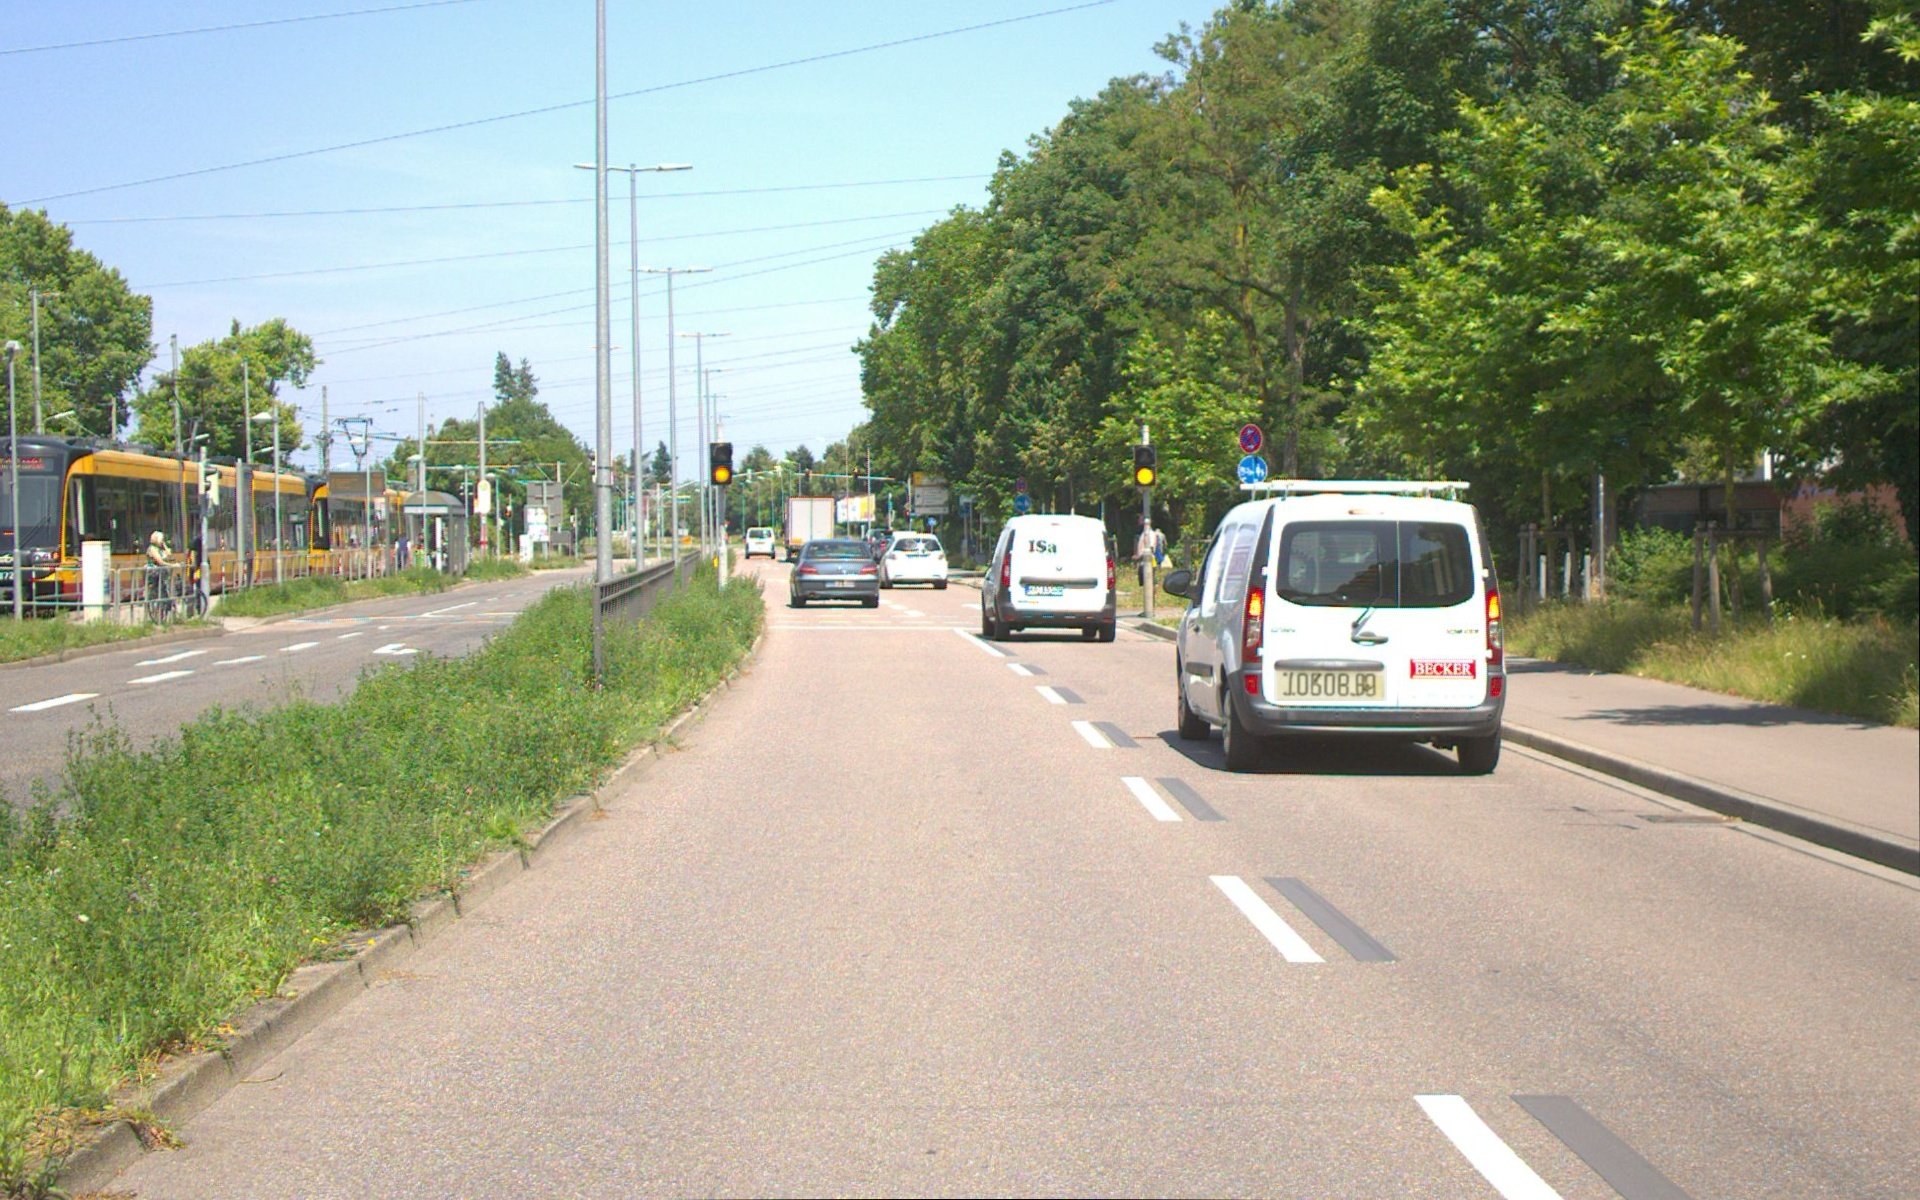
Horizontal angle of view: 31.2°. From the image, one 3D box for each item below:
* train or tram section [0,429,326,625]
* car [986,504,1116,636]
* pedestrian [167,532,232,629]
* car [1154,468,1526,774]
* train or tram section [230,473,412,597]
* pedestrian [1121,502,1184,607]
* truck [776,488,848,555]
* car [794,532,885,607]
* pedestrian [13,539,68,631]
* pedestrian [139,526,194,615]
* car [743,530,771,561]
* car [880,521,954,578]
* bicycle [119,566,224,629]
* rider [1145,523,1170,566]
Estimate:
[{"bbox_3d":[-19.024,-1.645,82.973,2.787,3.655,37.524,0,1,-4],"label":"train or tram section"},{"bbox_3d":[1.281,-0.470,49.704,1.728,1.807,4.000,1,1,0],"label":"car"},{"bbox_3d":[-14.260,-0.369,64.486,0.959,1.790,0.704,0,1,26],"label":"pedestrian"},{"bbox_3d":[2.477,0.095,23.503,1.824,1.875,4.456,1,1,-3],"label":"car"},{"bbox_3d":[-20.970,-2.123,114.676,2.787,3.655,26.003,0,1,-4],"label":"train or tram section"},{"bbox_3d":[3.418,-0.800,61.003,1.046,1.844,0.757,1,1,8],"label":"pedestrian"},{"bbox_3d":[-8.667,-4.532,199.932,3.898,3.800,10.794,0,1,-4],"label":"truck"},{"bbox_3d":[-2.491,-0.643,70.293,1.801,1.481,4.001,0,1,-3],"label":"car"},{"bbox_3d":[-15.508,-0.263,57.967,0.536,1.535,0.868,-1,1,-44],"label":"pedestrian"},{"bbox_3d":[-14.454,-0.538,62.656,0.819,1.623,0.705,0,1,2],"label":"pedestrian"},{"bbox_3d":[-12.773,-3.441,216.138,1.687,1.891,3.871,0,1,-4],"label":"car"},{"bbox_3d":[-1.200,-1.379,94.452,1.803,1.534,4.001,0,1,-4],"label":"car"},{"bbox_3d":[-14.369,-0.051,62.637,1.863,1.153,0.242,0,1,2],"label":"bicycle"},{"bbox_3d":[5.943,-1.666,103.580,0.678,1.277,0.534,0,1,-4],"label":"rider"}]
